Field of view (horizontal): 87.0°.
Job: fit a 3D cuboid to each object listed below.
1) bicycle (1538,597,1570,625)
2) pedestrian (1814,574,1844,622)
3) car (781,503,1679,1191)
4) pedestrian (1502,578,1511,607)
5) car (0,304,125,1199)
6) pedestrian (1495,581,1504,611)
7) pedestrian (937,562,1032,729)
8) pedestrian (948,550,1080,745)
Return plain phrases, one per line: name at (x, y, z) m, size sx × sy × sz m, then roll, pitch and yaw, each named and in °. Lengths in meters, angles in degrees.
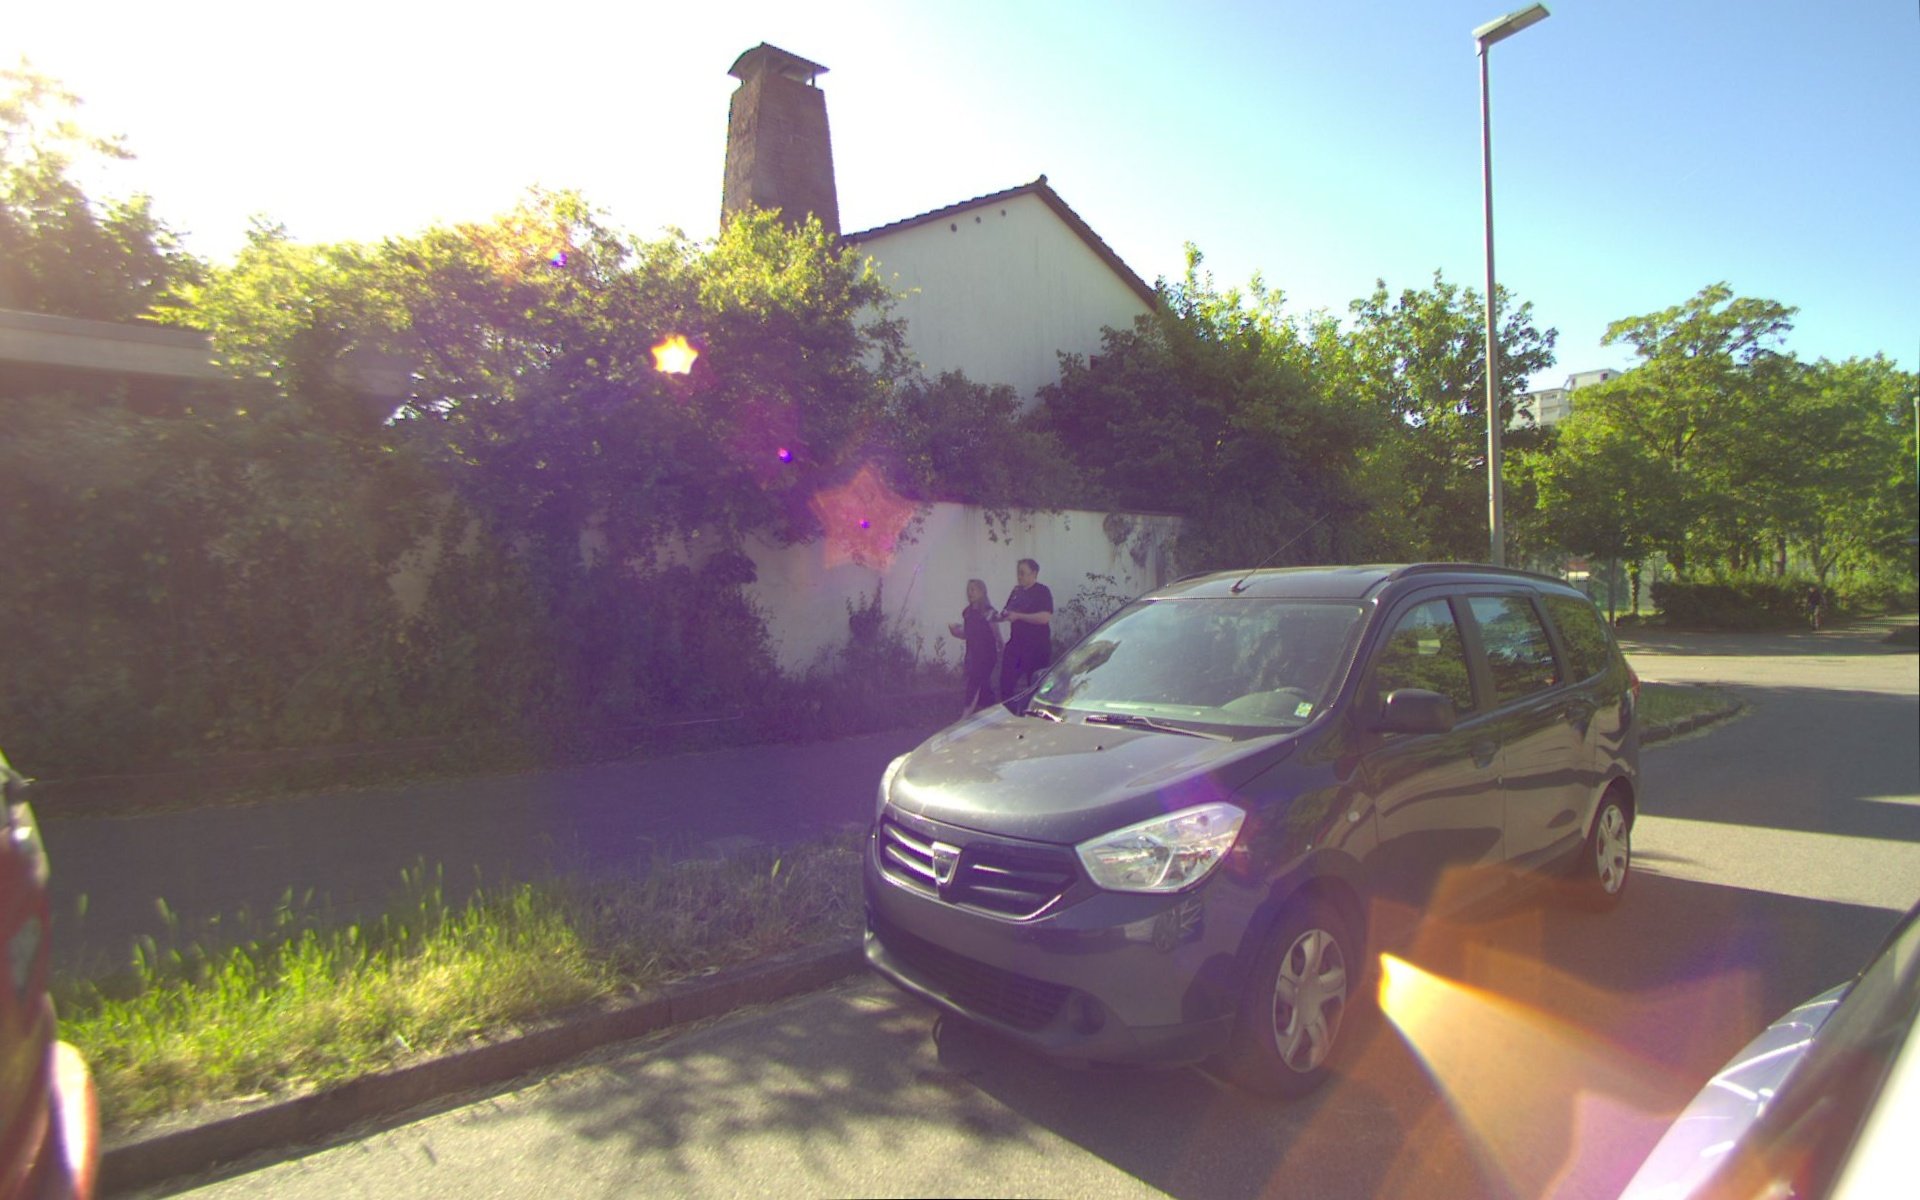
bicycle at (20.465, 0.380, 34.862) m, size 0.890 × 0.970 × 0.294 m, roll -1°, pitch 0°, yaw 3°
pedestrian at (30.353, -0.059, 35.354) m, size 0.629 × 1.659 × 0.642 m, roll 0°, pitch 0°, yaw -36°
car at (1.513, 0.587, 4.516) m, size 4.275 × 1.677 × 1.728 m, roll 0°, pitch 0°, yaw -40°
pedestrian at (29.612, -0.408, 54.845) m, size 0.395 × 1.555 × 0.317 m, roll 0°, pitch -1°, yaw -43°
car at (-3.332, 0.620, 0.404) m, size 4.569 × 1.828 × 1.844 m, roll -1°, pitch 0°, yaw -39°
pedestrian at (28.041, -0.214, 52.586) m, size 0.387 × 1.555 × 0.319 m, roll 0°, pitch -1°, yaw -43°
pedestrian at (0.254, 0.429, 10.347) m, size 0.779 × 1.629 × 0.573 m, roll -2°, pitch 2°, yaw -43°
pedestrian at (0.515, 0.396, 9.639) m, size 0.967 × 1.738 × 0.805 m, roll -2°, pitch 2°, yaw -43°
